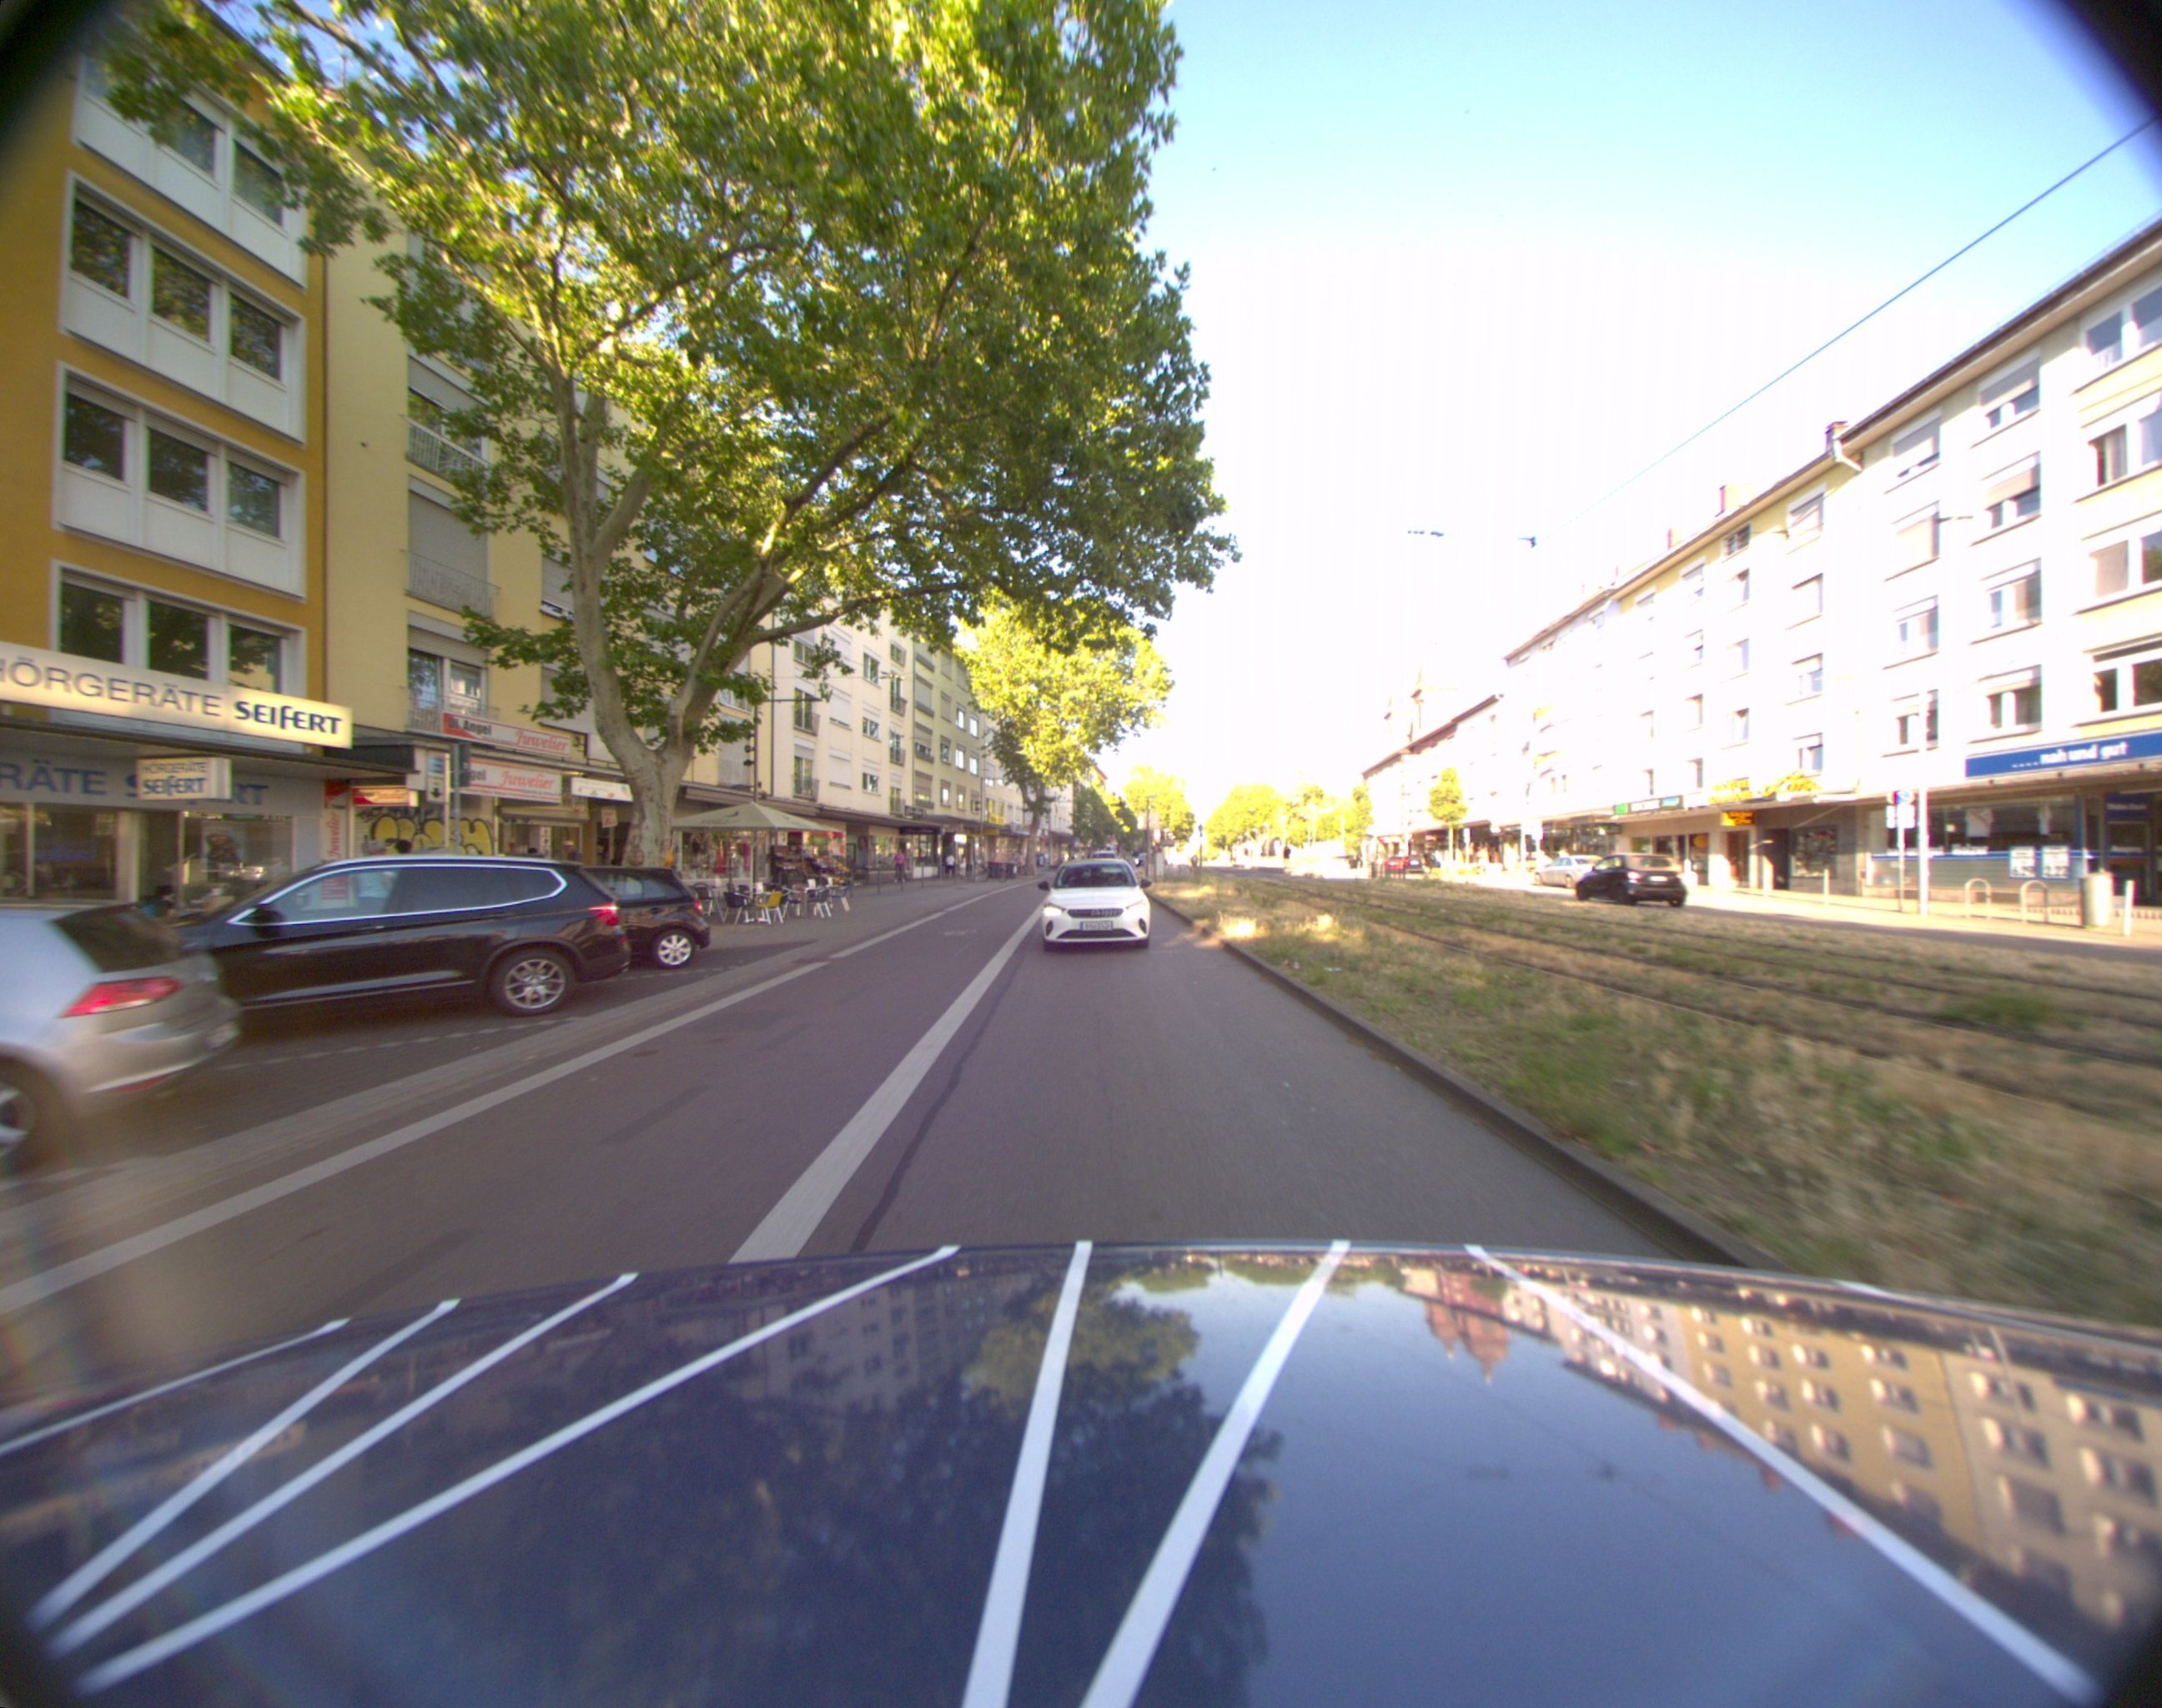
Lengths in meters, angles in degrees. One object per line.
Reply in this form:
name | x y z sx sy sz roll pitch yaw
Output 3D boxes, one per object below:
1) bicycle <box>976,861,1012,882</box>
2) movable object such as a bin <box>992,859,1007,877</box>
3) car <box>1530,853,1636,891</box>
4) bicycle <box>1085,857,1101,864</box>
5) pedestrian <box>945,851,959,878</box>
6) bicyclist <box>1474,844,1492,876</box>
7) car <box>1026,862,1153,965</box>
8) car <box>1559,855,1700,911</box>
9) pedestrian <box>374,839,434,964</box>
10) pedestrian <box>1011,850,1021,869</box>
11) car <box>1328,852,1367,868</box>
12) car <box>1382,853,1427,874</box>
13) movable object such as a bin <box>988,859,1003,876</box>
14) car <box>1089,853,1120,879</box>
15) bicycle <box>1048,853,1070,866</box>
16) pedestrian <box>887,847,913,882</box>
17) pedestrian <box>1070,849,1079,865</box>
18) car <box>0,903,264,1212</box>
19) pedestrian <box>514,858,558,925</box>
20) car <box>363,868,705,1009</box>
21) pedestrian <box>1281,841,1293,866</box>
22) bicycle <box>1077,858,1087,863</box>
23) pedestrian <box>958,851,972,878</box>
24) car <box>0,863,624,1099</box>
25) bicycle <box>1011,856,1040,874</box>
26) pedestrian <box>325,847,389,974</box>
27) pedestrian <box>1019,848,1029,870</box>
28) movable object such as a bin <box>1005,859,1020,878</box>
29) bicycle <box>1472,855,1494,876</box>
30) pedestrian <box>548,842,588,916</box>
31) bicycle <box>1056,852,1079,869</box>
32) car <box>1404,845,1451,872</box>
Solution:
bicycle | -4.998 0.987 43.601 1.909 1.098 0.519 2 1 14
movable object such as a bin | -5.133 0.857 47.724 0.723 1.066 0.644 6 2 5
car | 21.859 0.737 33.320 1.998 1.469 4.412 -2 0 5
bicycle | 1.385 0.734 89.982 1.762 0.773 0.702 1 0 -14
pedestrian | -7.668 0.609 45.271 0.623 1.577 0.627 2 1 6
bicyclist | 25.113 0.390 47.425 0.693 1.876 1.058 -5 2 17
car | 0.144 0.903 13.142 1.826 1.433 3.828 -2 0 1
car | 16.084 0.789 22.498 1.726 1.500 3.476 0 0 2
pedestrian | -10.133 0.692 11.388 0.518 1.822 0.474 0 1 -20
pedestrian | -5.075 0.436 58.982 0.541 1.493 0.896 2 0 8
car | 28.096 0.627 80.046 4.007 1.521 1.865 -2 1 -37
car | 25.413 0.729 59.648 3.777 1.482 1.859 -3 1 -44
movable object such as a bin | -5.452 0.836 48.350 0.722 1.066 0.645 2 2 26
car | 1.462 0.705 46.688 1.718 1.390 4.001 -2 0 4
bicycle | -2.013 0.506 69.991 1.795 1.118 0.663 4 1 -19
pedestrian | -9.364 0.519 39.351 0.969 1.753 1.134 1 2 8
pedestrian | -0.785 0.349 86.637 0.774 1.789 0.931 3 1 9
car | -7.231 1.105 3.680 4.185 1.443 1.805 -1 1 -37
pedestrian | -13.118 0.892 18.285 0.625 1.538 0.638 4 3 31
car | -7.425 1.011 10.581 3.615 1.531 1.737 -1 1 -40
pedestrian | 15.153 -0.009 55.837 0.743 1.838 0.590 0 1 2
bicycle | 0.130 0.738 90.179 0.840 0.569 1.758 1 0 -14
pedestrian | -6.922 0.604 45.322 0.636 1.577 0.627 2 1 6
car | -7.111 0.964 7.555 4.159 1.671 1.804 -1 1 -40
bicycle | -3.632 0.743 49.891 1.721 1.111 0.745 0 4 8
pedestrian | -10.621 0.808 11.160 0.518 1.822 0.474 -1 1 -21
pedestrian | -4.389 0.384 58.552 0.547 1.619 0.896 2 0 8
movable object such as a bin | -4.302 0.912 47.607 0.723 1.096 0.645 4 2 14
bicycle | 25.232 0.726 47.716 0.706 1.152 2.200 -5 2 16
pedestrian | -12.763 0.599 18.891 0.635 1.793 0.628 1 1 36
bicycle | -1.211 0.590 68.831 1.788 1.304 0.695 6 2 20
car | 25.783 0.311 56.536 3.777 1.789 1.859 -3 1 -44
